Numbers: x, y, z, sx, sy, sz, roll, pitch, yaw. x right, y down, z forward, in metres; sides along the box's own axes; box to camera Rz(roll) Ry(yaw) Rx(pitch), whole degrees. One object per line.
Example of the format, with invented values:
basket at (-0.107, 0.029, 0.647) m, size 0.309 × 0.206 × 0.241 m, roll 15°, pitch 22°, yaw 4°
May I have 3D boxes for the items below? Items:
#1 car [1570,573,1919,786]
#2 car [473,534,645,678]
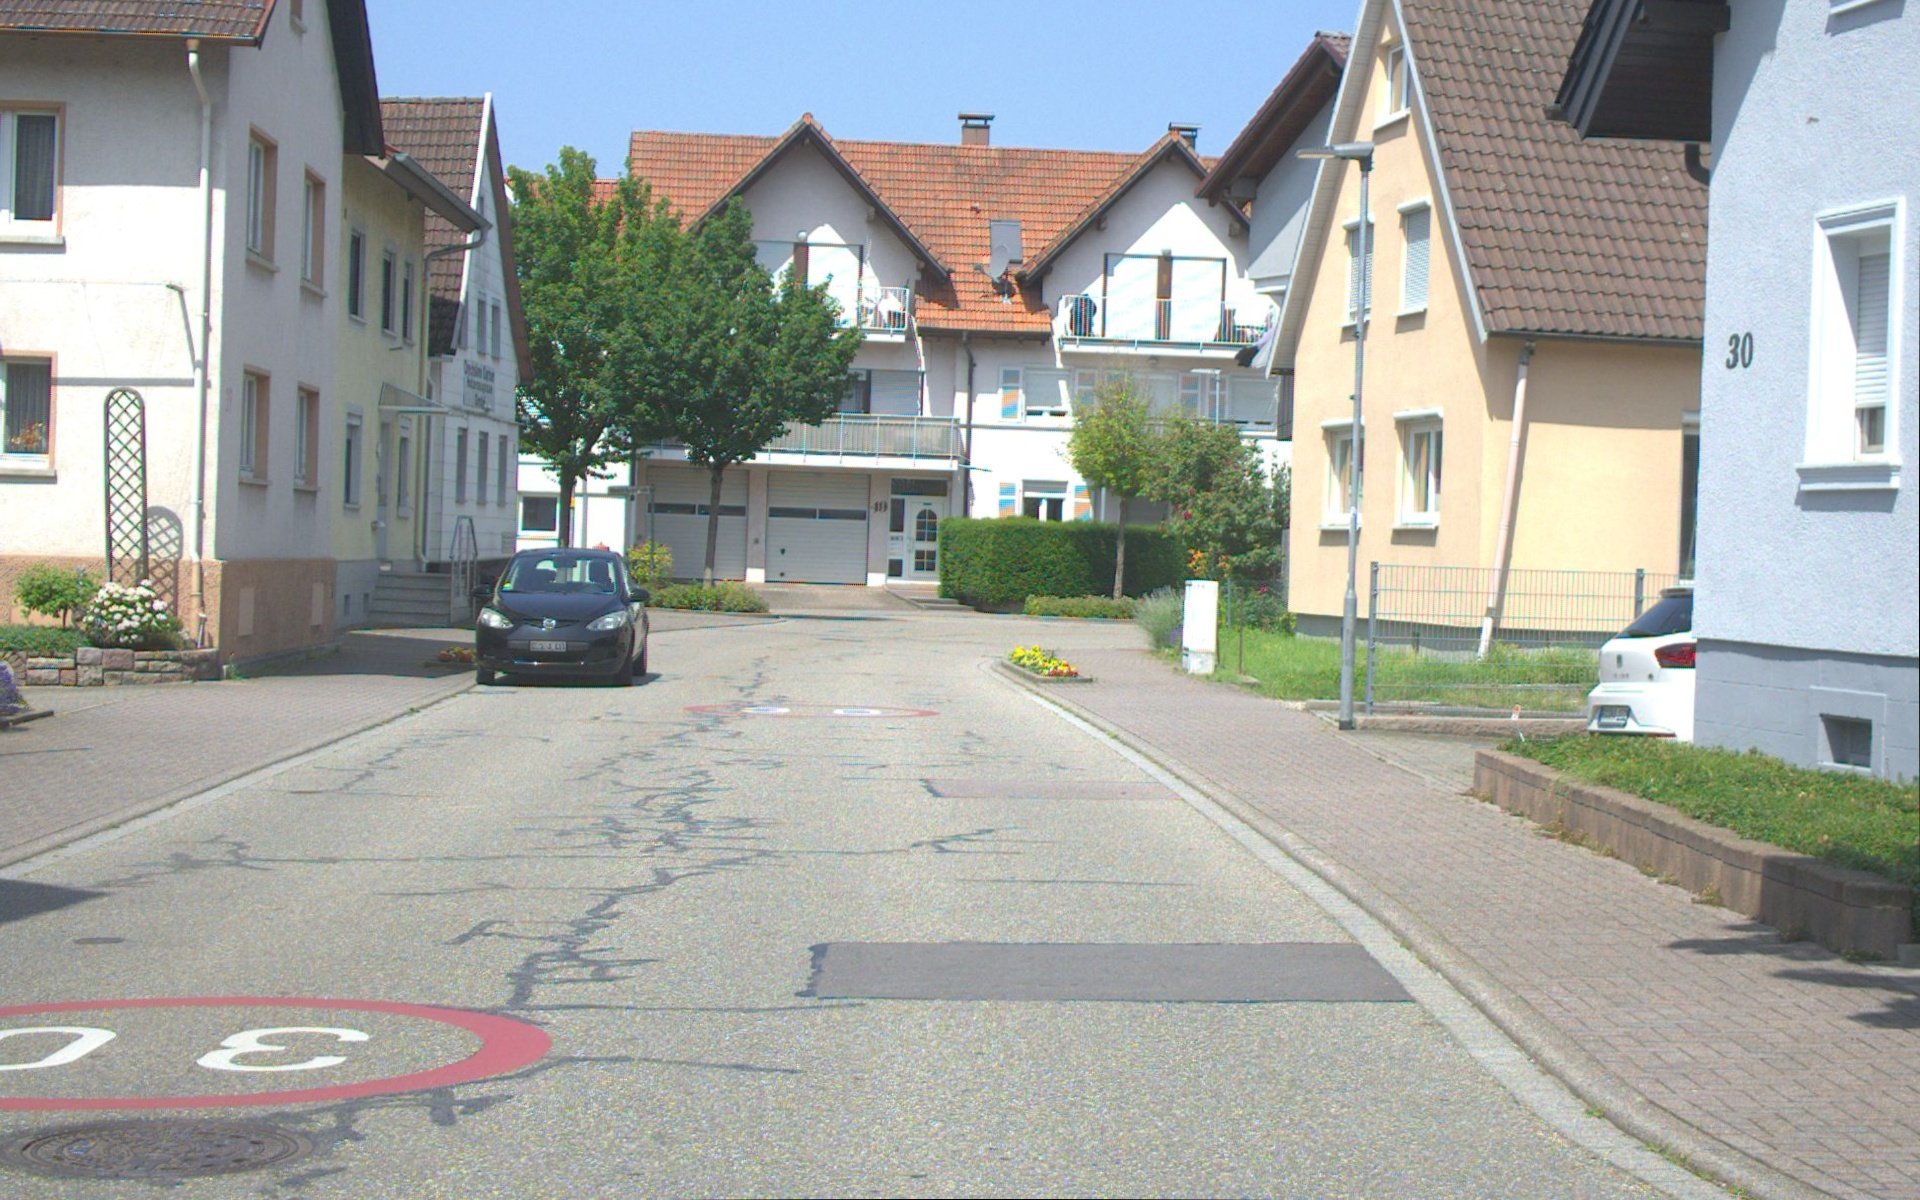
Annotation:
car at (5.775, 0.524, 22.914) m, size 3.042 × 1.341 × 1.423 m, roll 1°, pitch 0°, yaw -9°
car at (-4.372, 0.028, 37.940) m, size 1.626 × 1.481 × 4.001 m, roll 1°, pitch 1°, yaw -3°
